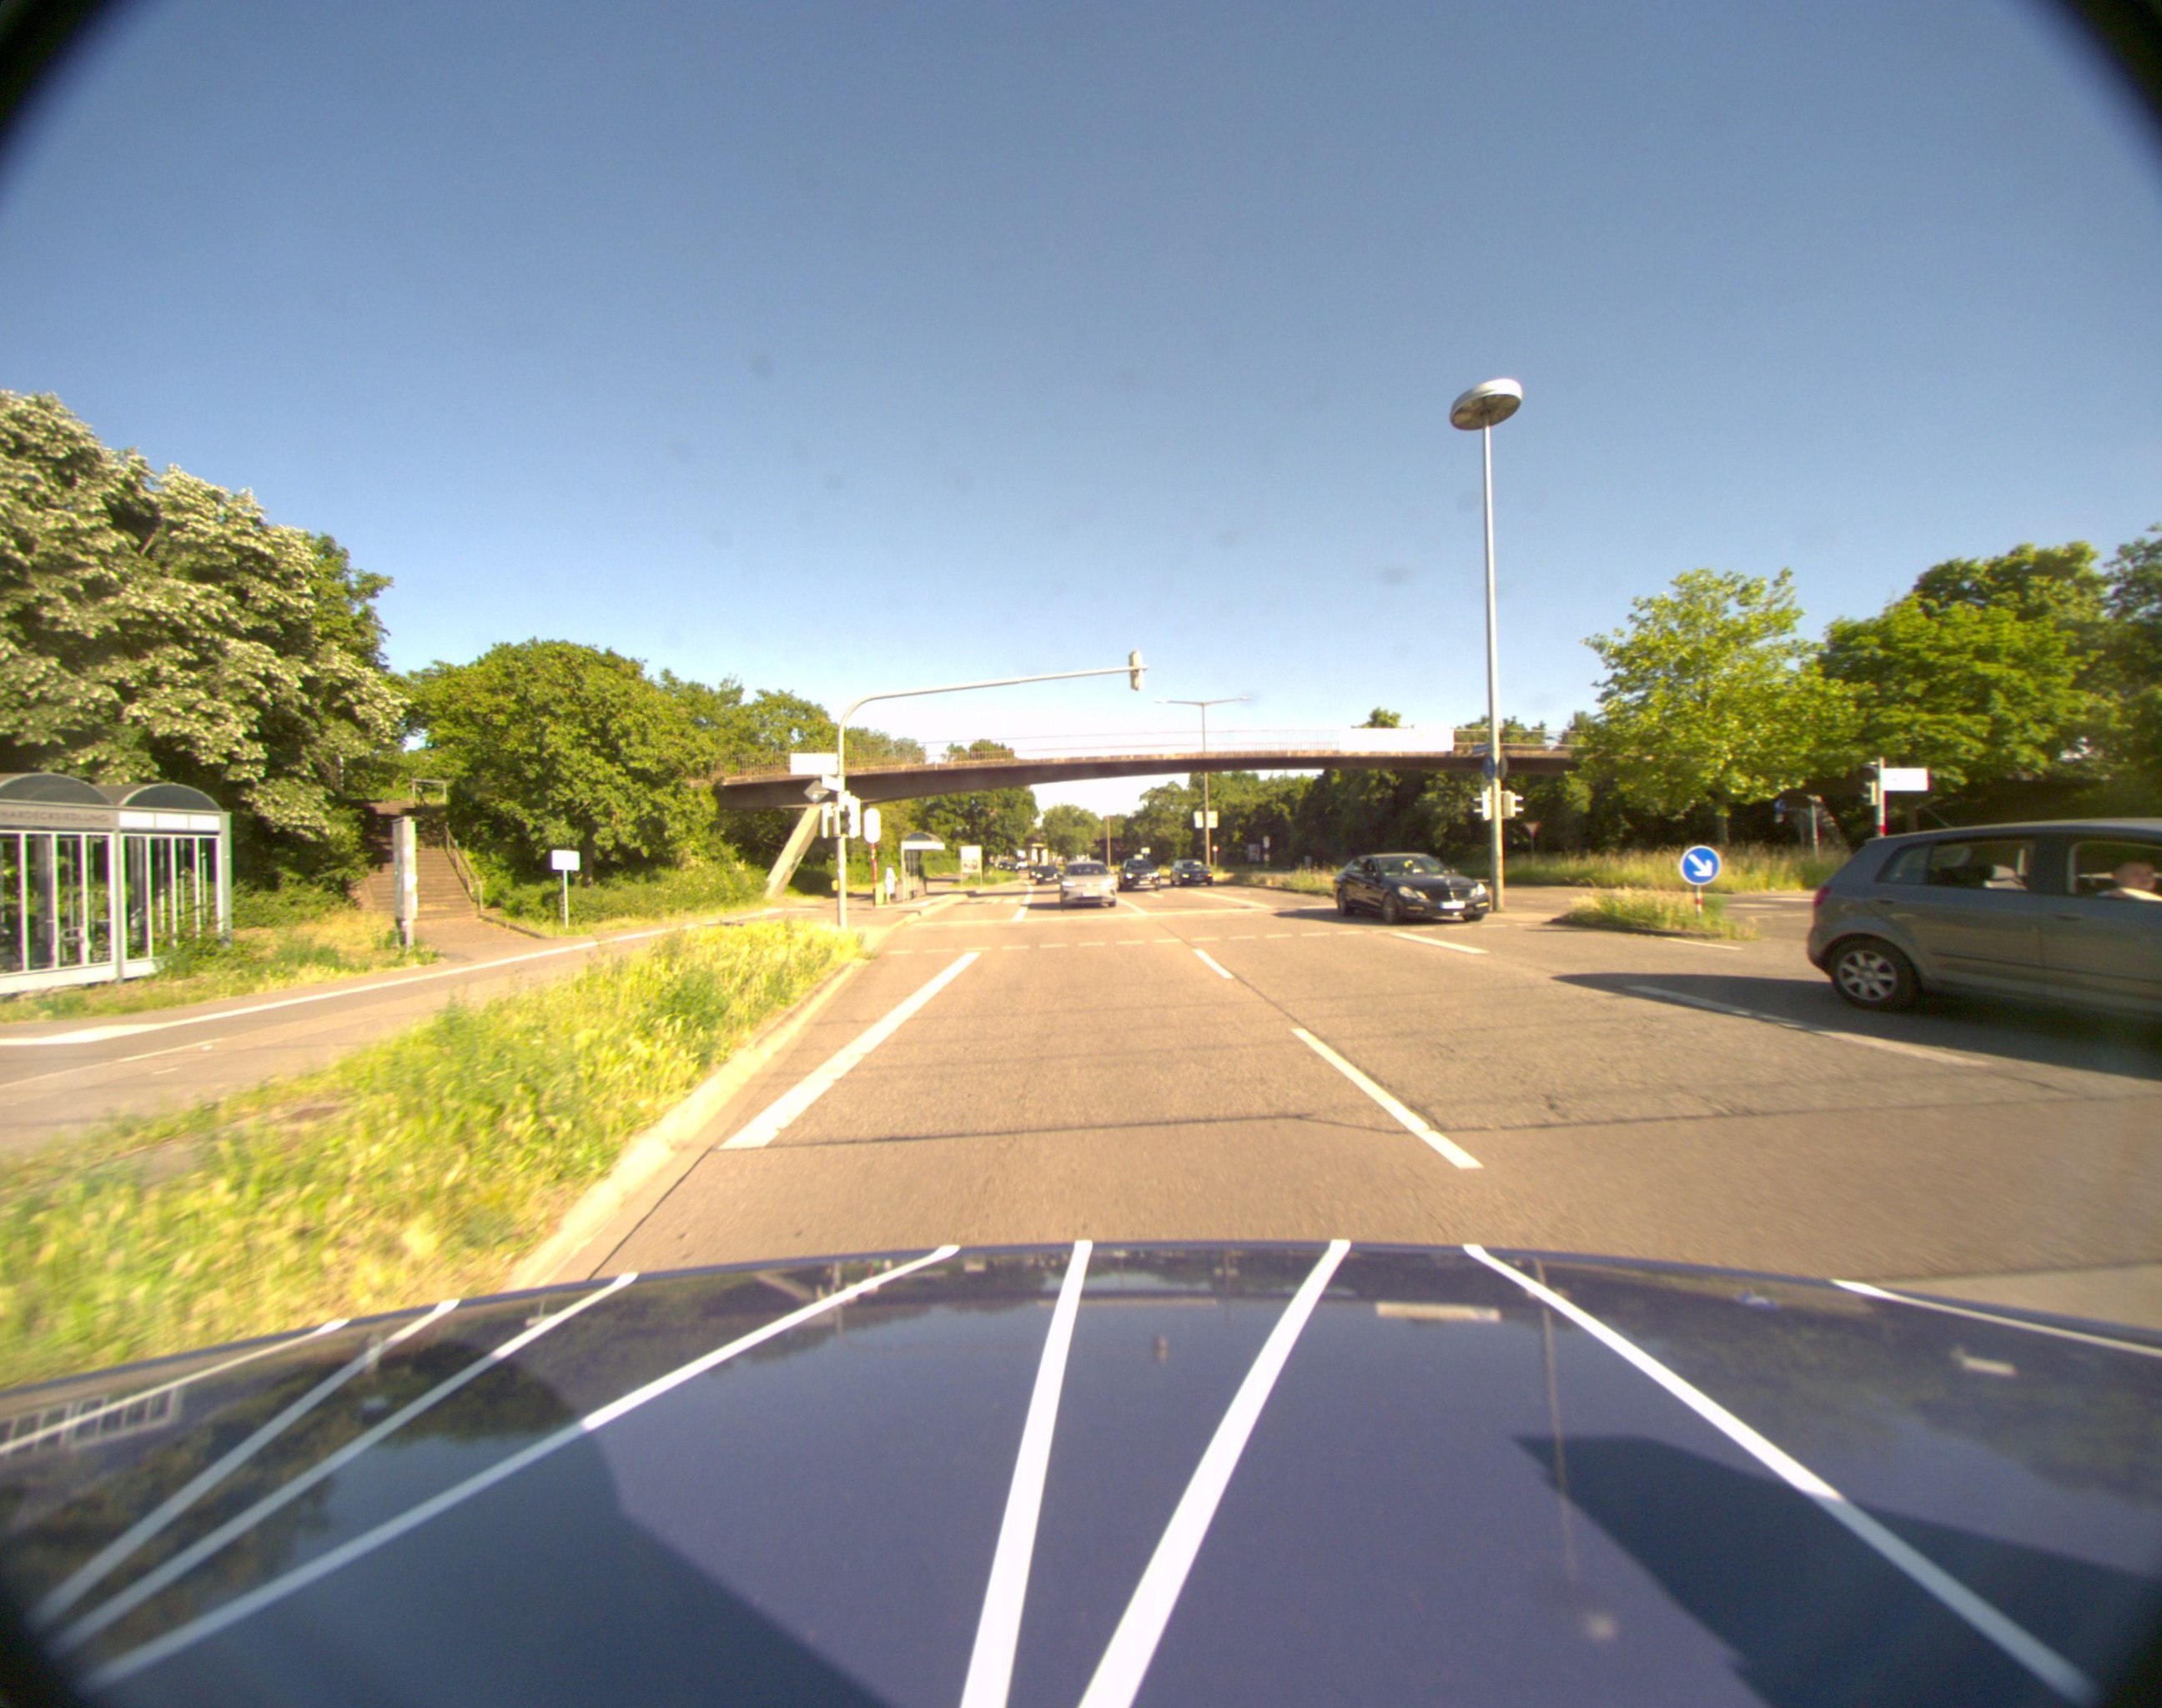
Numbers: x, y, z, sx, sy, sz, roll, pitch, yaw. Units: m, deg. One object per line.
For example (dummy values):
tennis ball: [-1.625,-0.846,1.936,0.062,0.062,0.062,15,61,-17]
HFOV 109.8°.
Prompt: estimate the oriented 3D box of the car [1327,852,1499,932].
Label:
car: [7.142,0.753,16.933,1.779,1.477,4.529,-2,0,-1]

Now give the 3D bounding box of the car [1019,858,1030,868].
car: [-11.282,1.753,151.797,2.000,2.002,3.998,-2,0,-6]

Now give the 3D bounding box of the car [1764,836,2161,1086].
car: [7.676,0.659,5.176,1.847,1.561,4.384,-1,0,-6]

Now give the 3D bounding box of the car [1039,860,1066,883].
car: [-2.247,1.337,58.506,1.874,1.611,3.835,-2,0,-4]

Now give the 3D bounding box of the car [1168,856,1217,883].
car: [6.411,0.883,44.048,1.796,1.486,4.000,-1,-1,-7]

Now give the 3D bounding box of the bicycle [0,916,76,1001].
bicycle: [-15.150,1.506,10.364,0.431,1.062,1.784,1,4,0]

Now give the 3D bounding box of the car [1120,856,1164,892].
car: [3.079,0.976,38.766,1.714,1.653,3.855,-3,0,-2]

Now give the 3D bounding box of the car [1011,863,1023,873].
car: [-10.751,2.292,126.726,1.874,1.611,3.834,-2,0,-6]

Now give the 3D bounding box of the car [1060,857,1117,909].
car: [0.214,0.972,26.838,1.802,1.664,4.239,-2,-1,-1]

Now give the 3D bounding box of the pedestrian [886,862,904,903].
pedestrian: [-7.582,1.152,30.959,0.589,1.652,0.716,-1,0,-5]

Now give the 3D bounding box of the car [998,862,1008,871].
car: [-14.635,2.357,142.325,1.874,1.611,3.834,-2,0,-6]

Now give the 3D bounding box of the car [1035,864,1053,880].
car: [-4.033,1.955,81.978,1.874,1.611,3.835,-2,0,-4]
